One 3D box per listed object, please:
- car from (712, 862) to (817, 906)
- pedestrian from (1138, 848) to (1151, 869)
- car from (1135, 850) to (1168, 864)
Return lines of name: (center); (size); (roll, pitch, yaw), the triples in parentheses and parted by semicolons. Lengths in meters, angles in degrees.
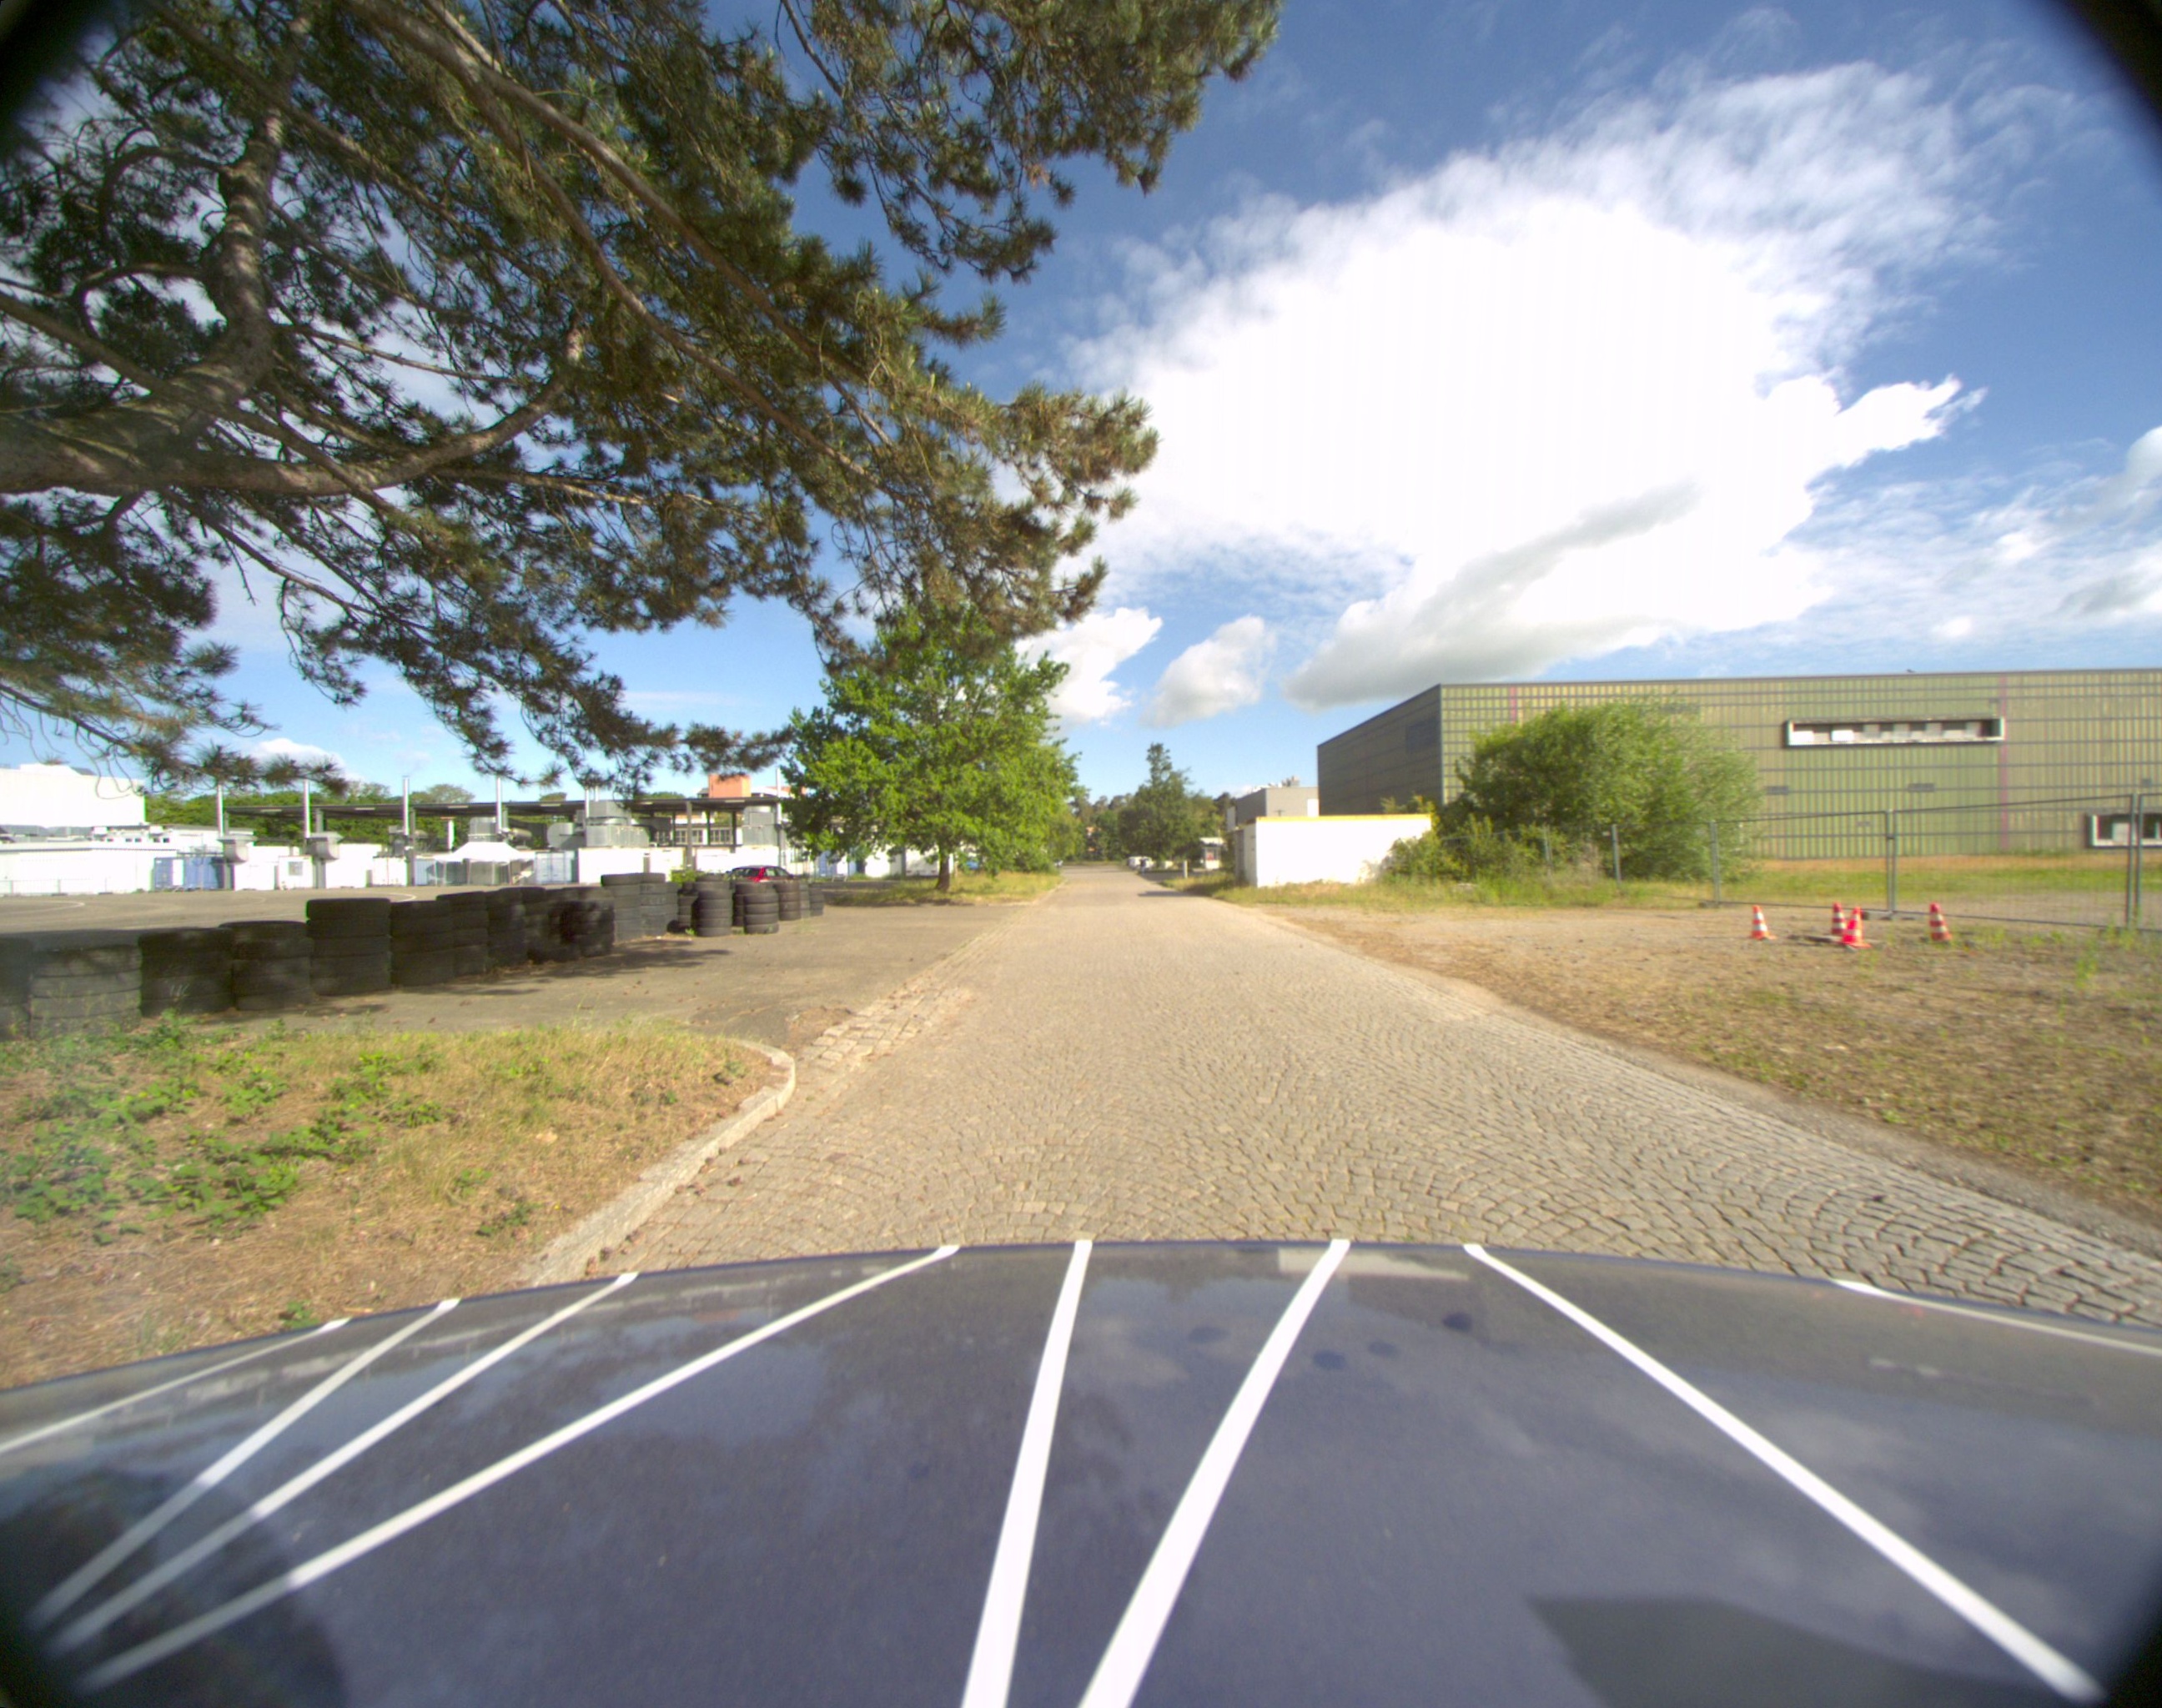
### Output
car: (-11.659, 1.059, 28.344); (1.846, 1.440, 4.002); (-1, 0, 7)
pedestrian: (5.472, 0.419, 65.595); (0.908, 1.797, 0.983); (-1, 1, -6)
car: (8.617, 0.364, 93.501); (3.996, 1.678, 2.000); (-1, 0, 4)
